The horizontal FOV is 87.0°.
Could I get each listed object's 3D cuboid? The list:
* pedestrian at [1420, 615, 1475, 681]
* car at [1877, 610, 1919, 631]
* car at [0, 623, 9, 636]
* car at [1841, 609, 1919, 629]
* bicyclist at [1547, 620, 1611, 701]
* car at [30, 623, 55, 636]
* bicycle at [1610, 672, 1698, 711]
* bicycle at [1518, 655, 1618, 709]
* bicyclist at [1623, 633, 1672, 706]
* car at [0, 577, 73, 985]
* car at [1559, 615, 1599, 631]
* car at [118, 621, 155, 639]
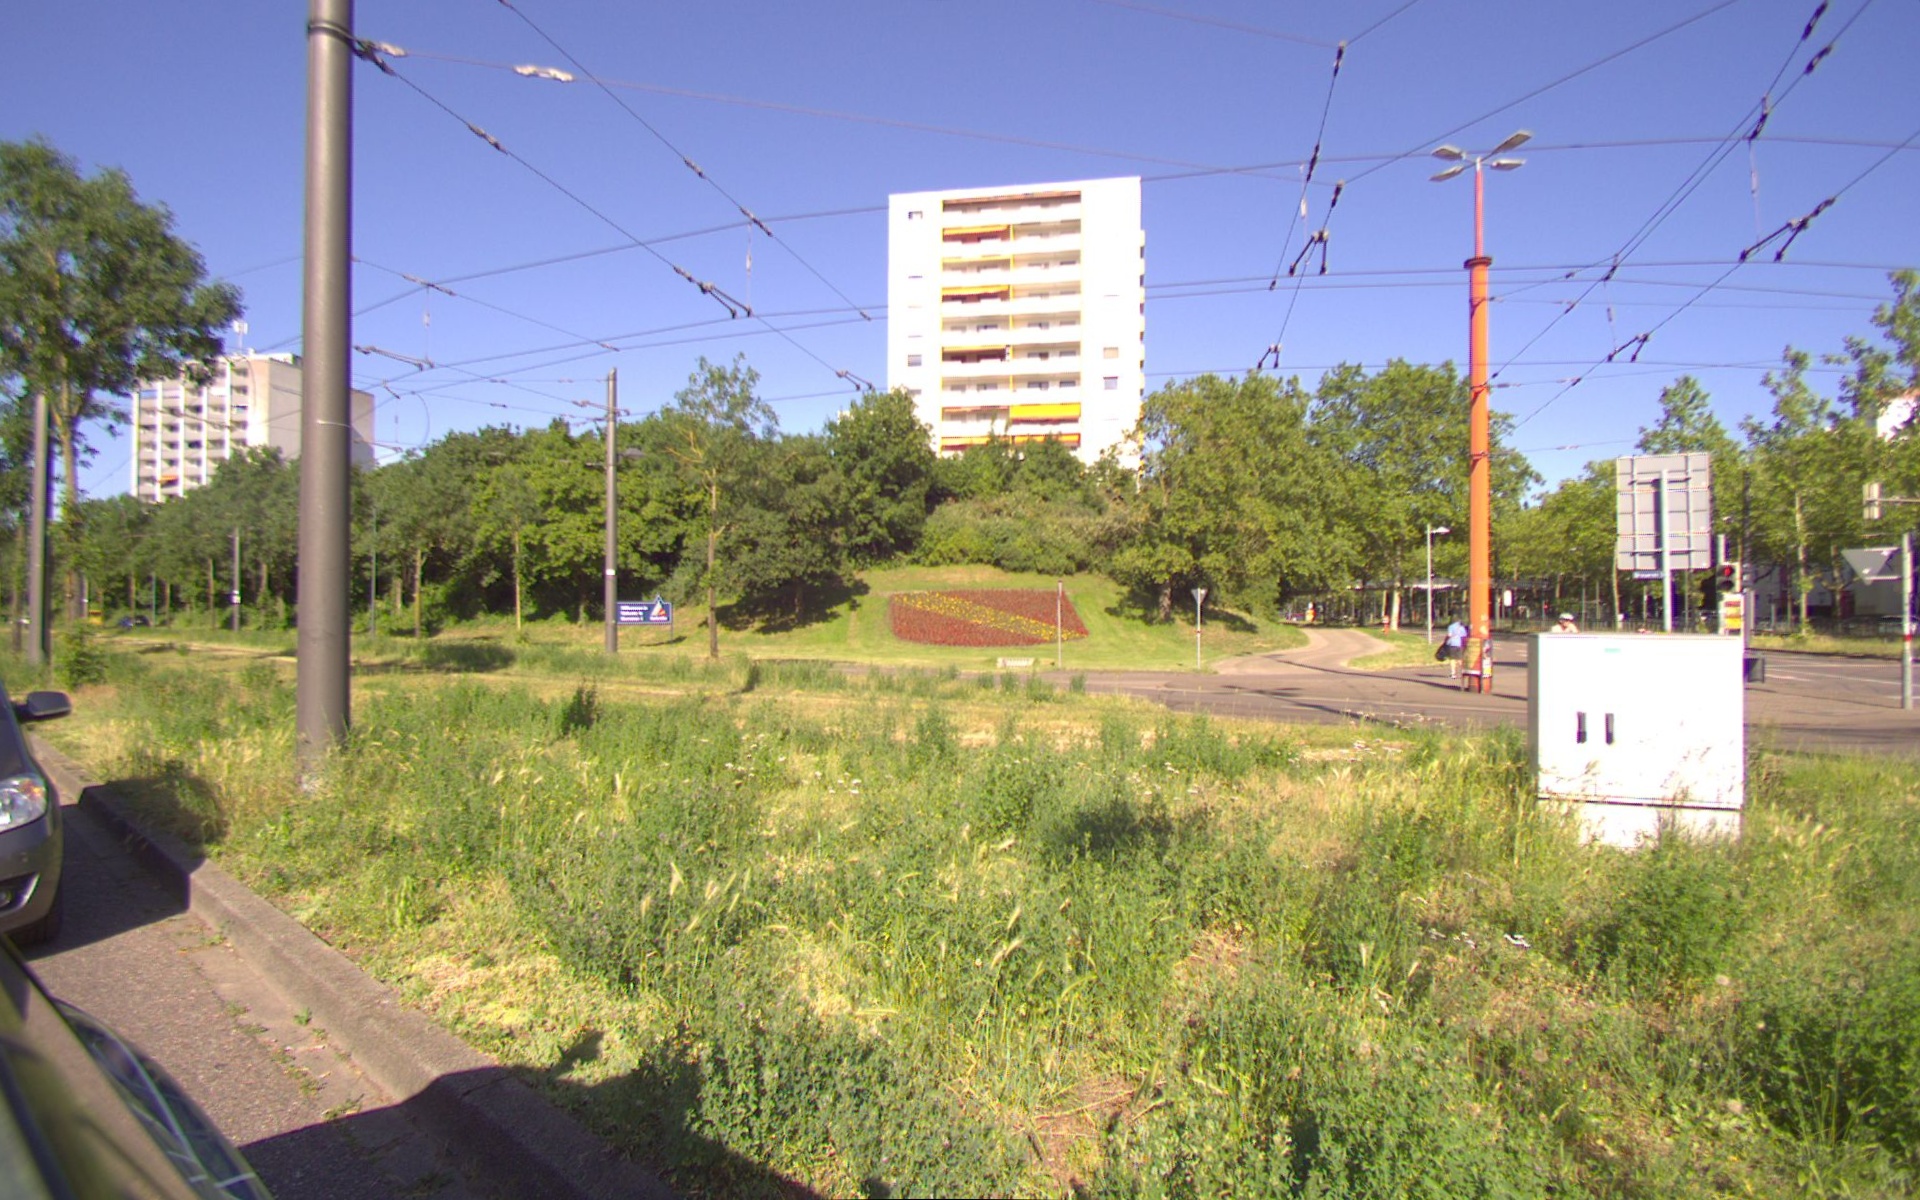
[{"bbox_3d":[13.832,1.346,28.737,0.939,1.807,0.990,0,-1,-14],"label":"pedestrian"},{"bbox_3d":[64.894,1.401,68.394,1.770,1.420,4.010,1,-1,-36],"label":"car"},{"bbox_3d":[-121.838,3.740,128.210,4.241,1.519,1.768,-1,-2,44],"label":"car"},{"bbox_3d":[65.883,1.379,72.376,1.770,1.420,4.010,1,-1,-36],"label":"car"},{"bbox_3d":[12.254,1.182,20.052,0.719,1.557,0.770,0,-2,-20],"label":"bicyclist"},{"bbox_3d":[-104.843,3.368,115.633,4.000,1.386,1.756,-1,-2,43],"label":"car"},{"bbox_3d":[13.406,1.761,19.597,0.427,0.665,1.426,0,-1,-18],"label":"bicycle"},{"bbox_3d":[12.139,1.624,20.276,0.673,0.968,1.650,0,-1,-20],"label":"bicycle"},{"bbox_3d":[13.391,1.341,19.714,0.435,1.391,0.631,0,-2,-20],"label":"bicyclist"},{"bbox_3d":[-5.731,0.746,4.840,3.879,1.634,1.737,-1,-2,41],"label":"car"},{"bbox_3d":[79.740,2.996,130.476,3.969,2.029,1.987,-1,-1,20],"label":"car"},{"bbox_3d":[-75.804,2.739,93.116,4.105,1.586,1.972,-1,-2,41],"label":"car"}]
